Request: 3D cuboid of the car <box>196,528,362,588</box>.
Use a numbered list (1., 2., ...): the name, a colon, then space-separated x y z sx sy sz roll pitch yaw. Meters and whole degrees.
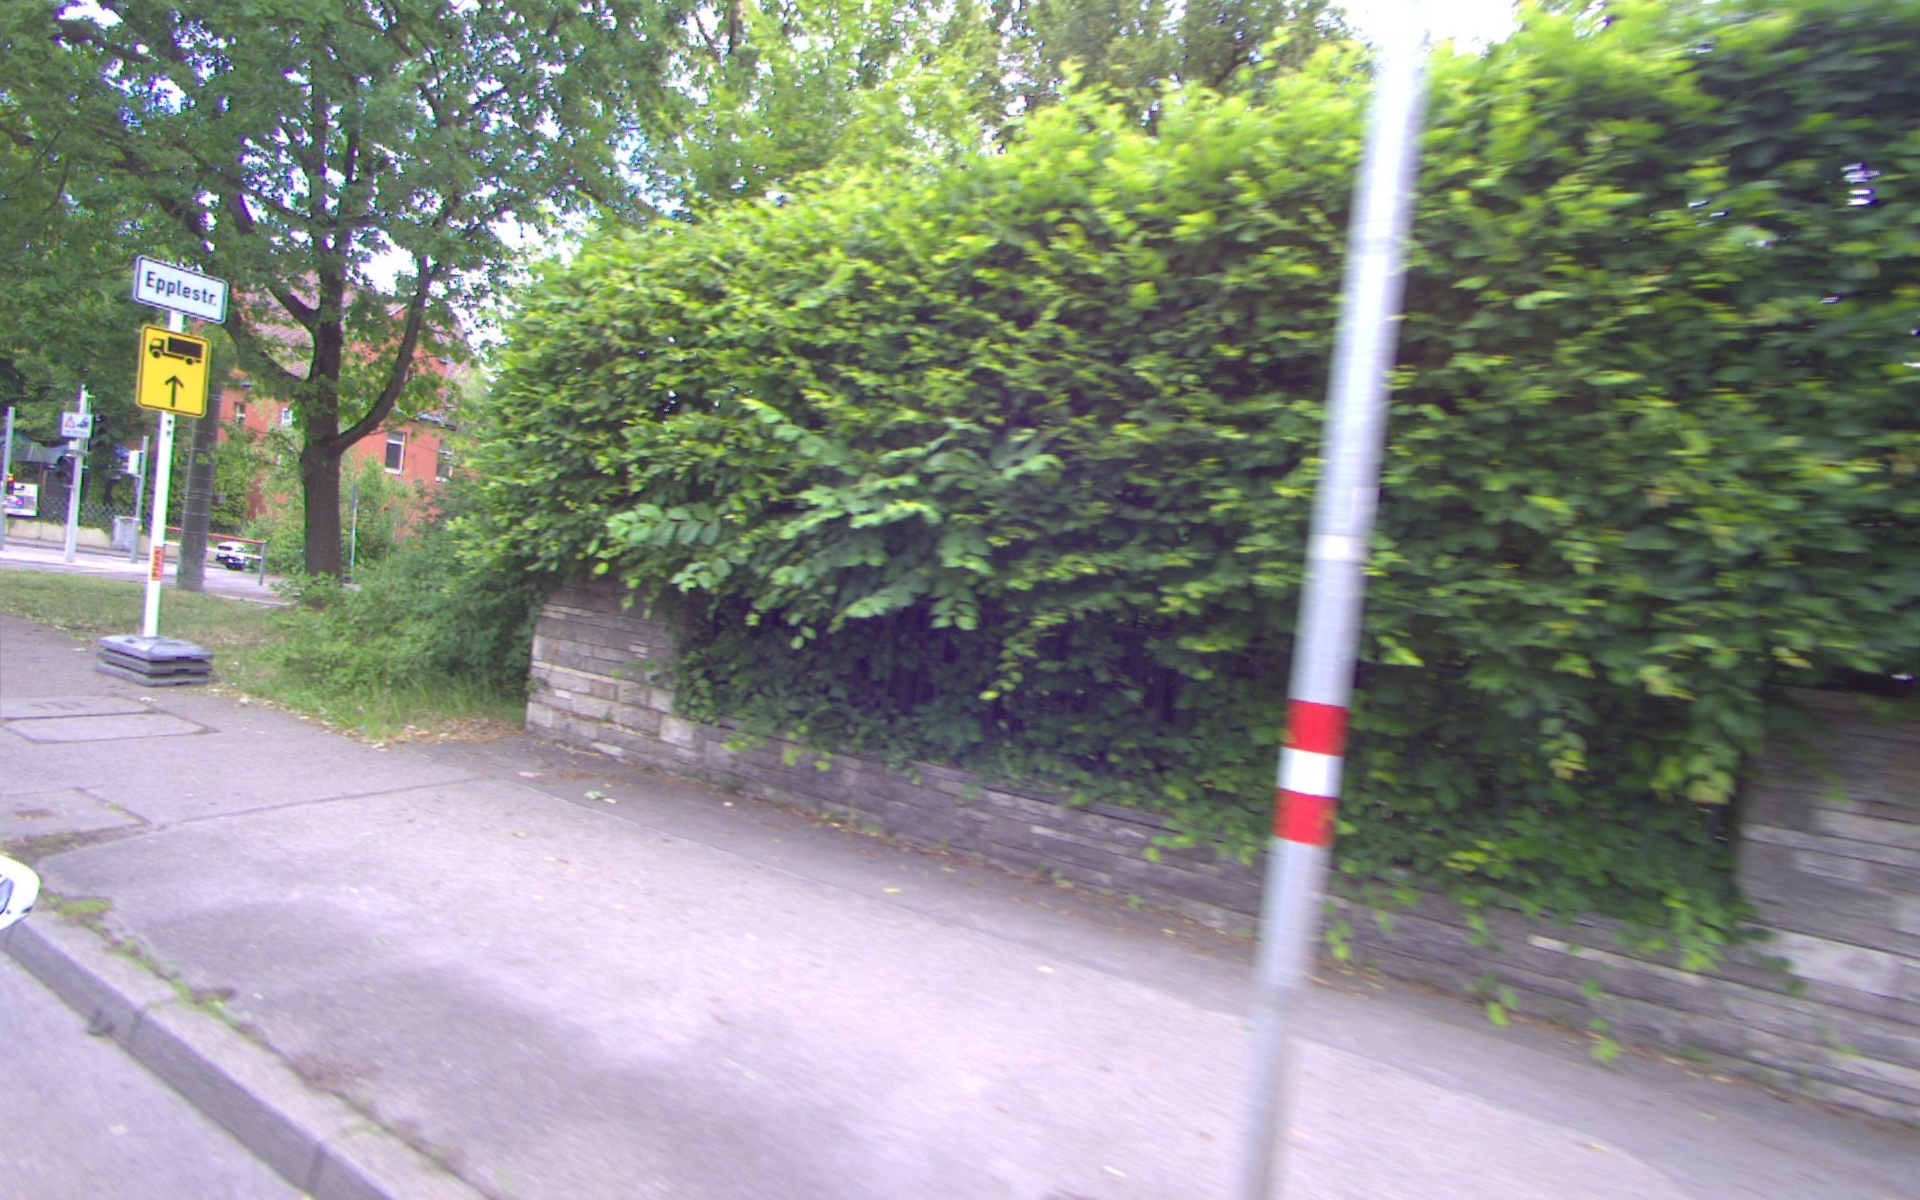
1. car: -24.339 -1.455 36.172 1.963 1.480 4.521 7 -1 21
